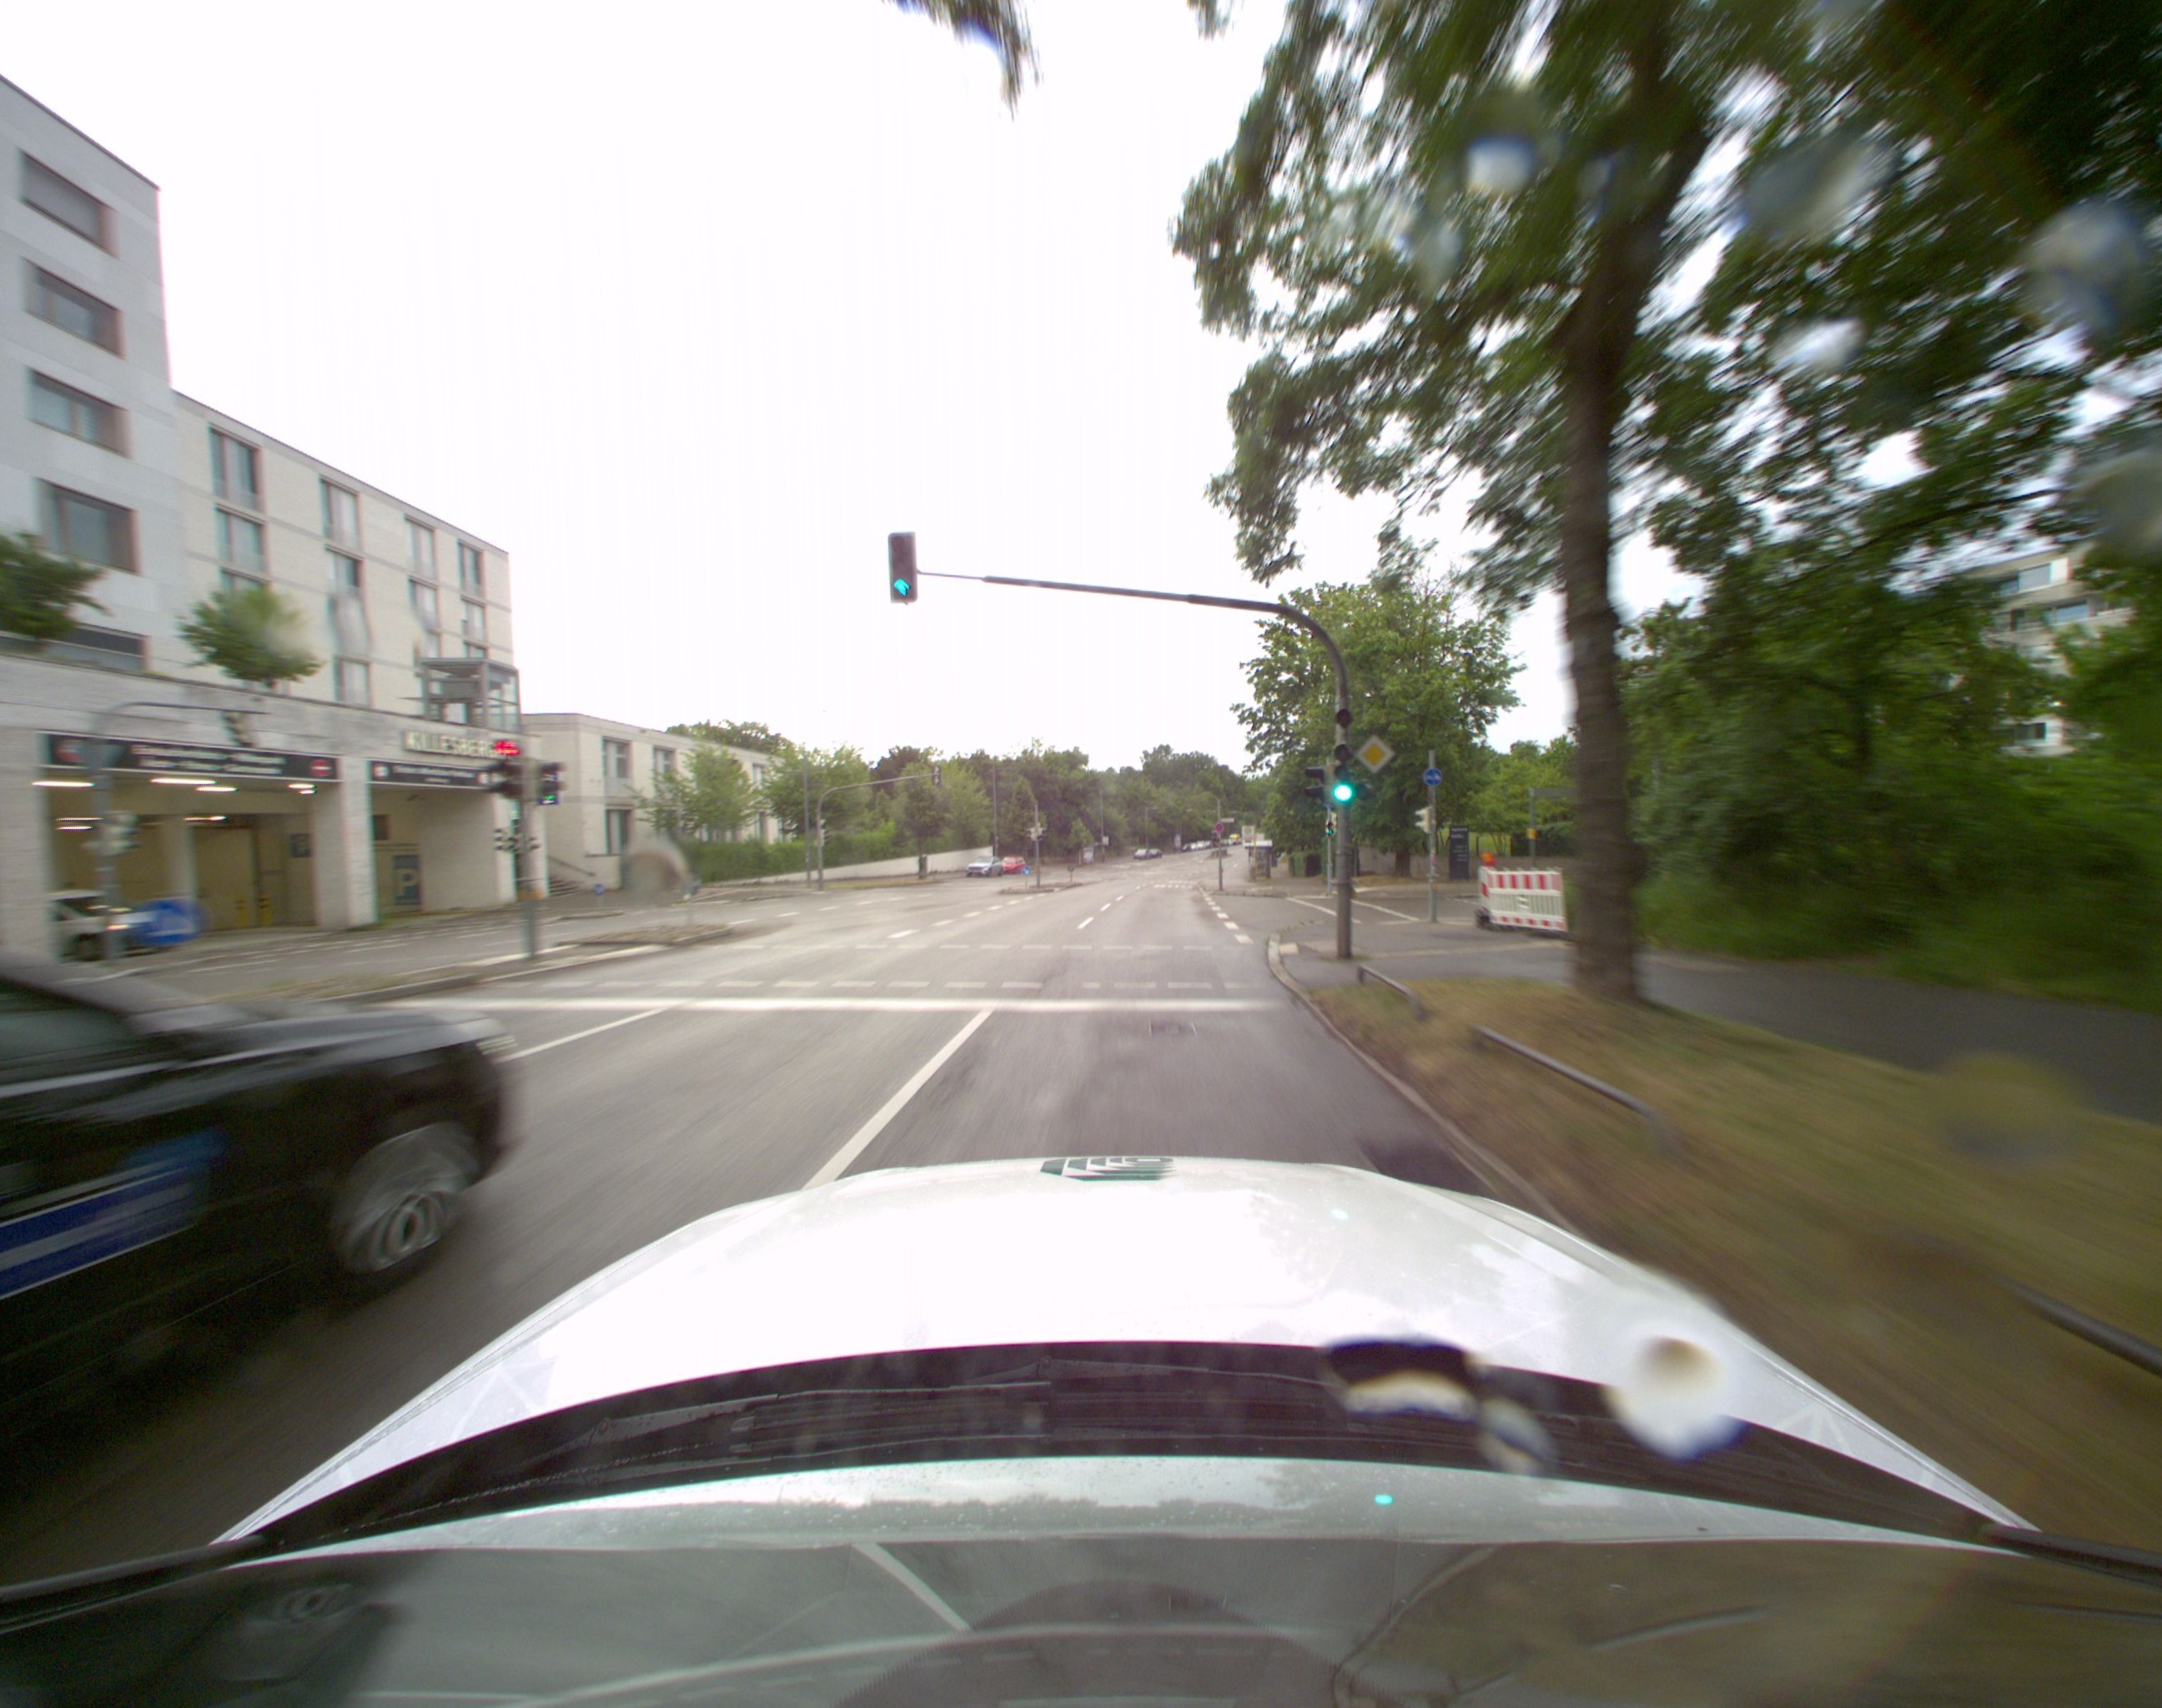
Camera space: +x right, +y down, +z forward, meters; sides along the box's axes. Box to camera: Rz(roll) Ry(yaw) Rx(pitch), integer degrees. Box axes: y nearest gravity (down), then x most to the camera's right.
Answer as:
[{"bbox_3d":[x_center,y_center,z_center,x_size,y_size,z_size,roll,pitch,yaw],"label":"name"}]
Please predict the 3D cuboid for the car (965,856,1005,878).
[{"bbox_3d":[-7.738,0.998,66.073,1.839,1.639,4.110,2,1,15],"label":"car"}]

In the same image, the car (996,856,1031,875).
[{"bbox_3d":[-6.006,1.036,73.284,1.862,1.575,4.238,2,1,13],"label":"car"}]

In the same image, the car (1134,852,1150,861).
[{"bbox_3d":[9.426,0.388,126.018,1.700,1.460,3.767,0,0,17],"label":"car"}]

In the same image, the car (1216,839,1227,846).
[{"bbox_3d":[32.602,-2.701,188.879,1.940,1.485,4.022,2,4,21],"label":"car"}]

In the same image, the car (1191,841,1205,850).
[{"bbox_3d":[24.360,-1.799,169.202,1.940,1.485,4.022,2,4,21],"label":"car"}]

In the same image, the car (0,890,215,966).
[{"bbox_3d":[-25.316,1.845,20.608,4.492,1.672,1.925,-2,-1,-4],"label":"car"}]

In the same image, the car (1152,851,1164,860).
[{"bbox_3d":[12.528,0.299,131.786,1.406,1.424,3.135,0,0,16],"label":"car"}]

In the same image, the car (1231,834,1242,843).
[{"bbox_3d":[38.899,-3.922,203.547,1.940,1.936,4.022,2,4,21],"label":"car"}]

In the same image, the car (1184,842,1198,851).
[{"bbox_3d":[22.282,-1.501,164.545,1.843,1.485,4.022,2,4,21],"label":"car"}]

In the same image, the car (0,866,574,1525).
[{"bbox_3d":[-3.281,0.754,1.448,1.793,1.430,4.522,0,0,2],"label":"car"}]

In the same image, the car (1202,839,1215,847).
[{"bbox_3d":[27.744,-2.307,177.135,1.940,1.485,4.022,2,4,21],"label":"car"}]

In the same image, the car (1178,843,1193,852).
[{"bbox_3d":[20.512,-1.199,159.879,1.940,1.485,4.022,2,4,21],"label":"car"}]
